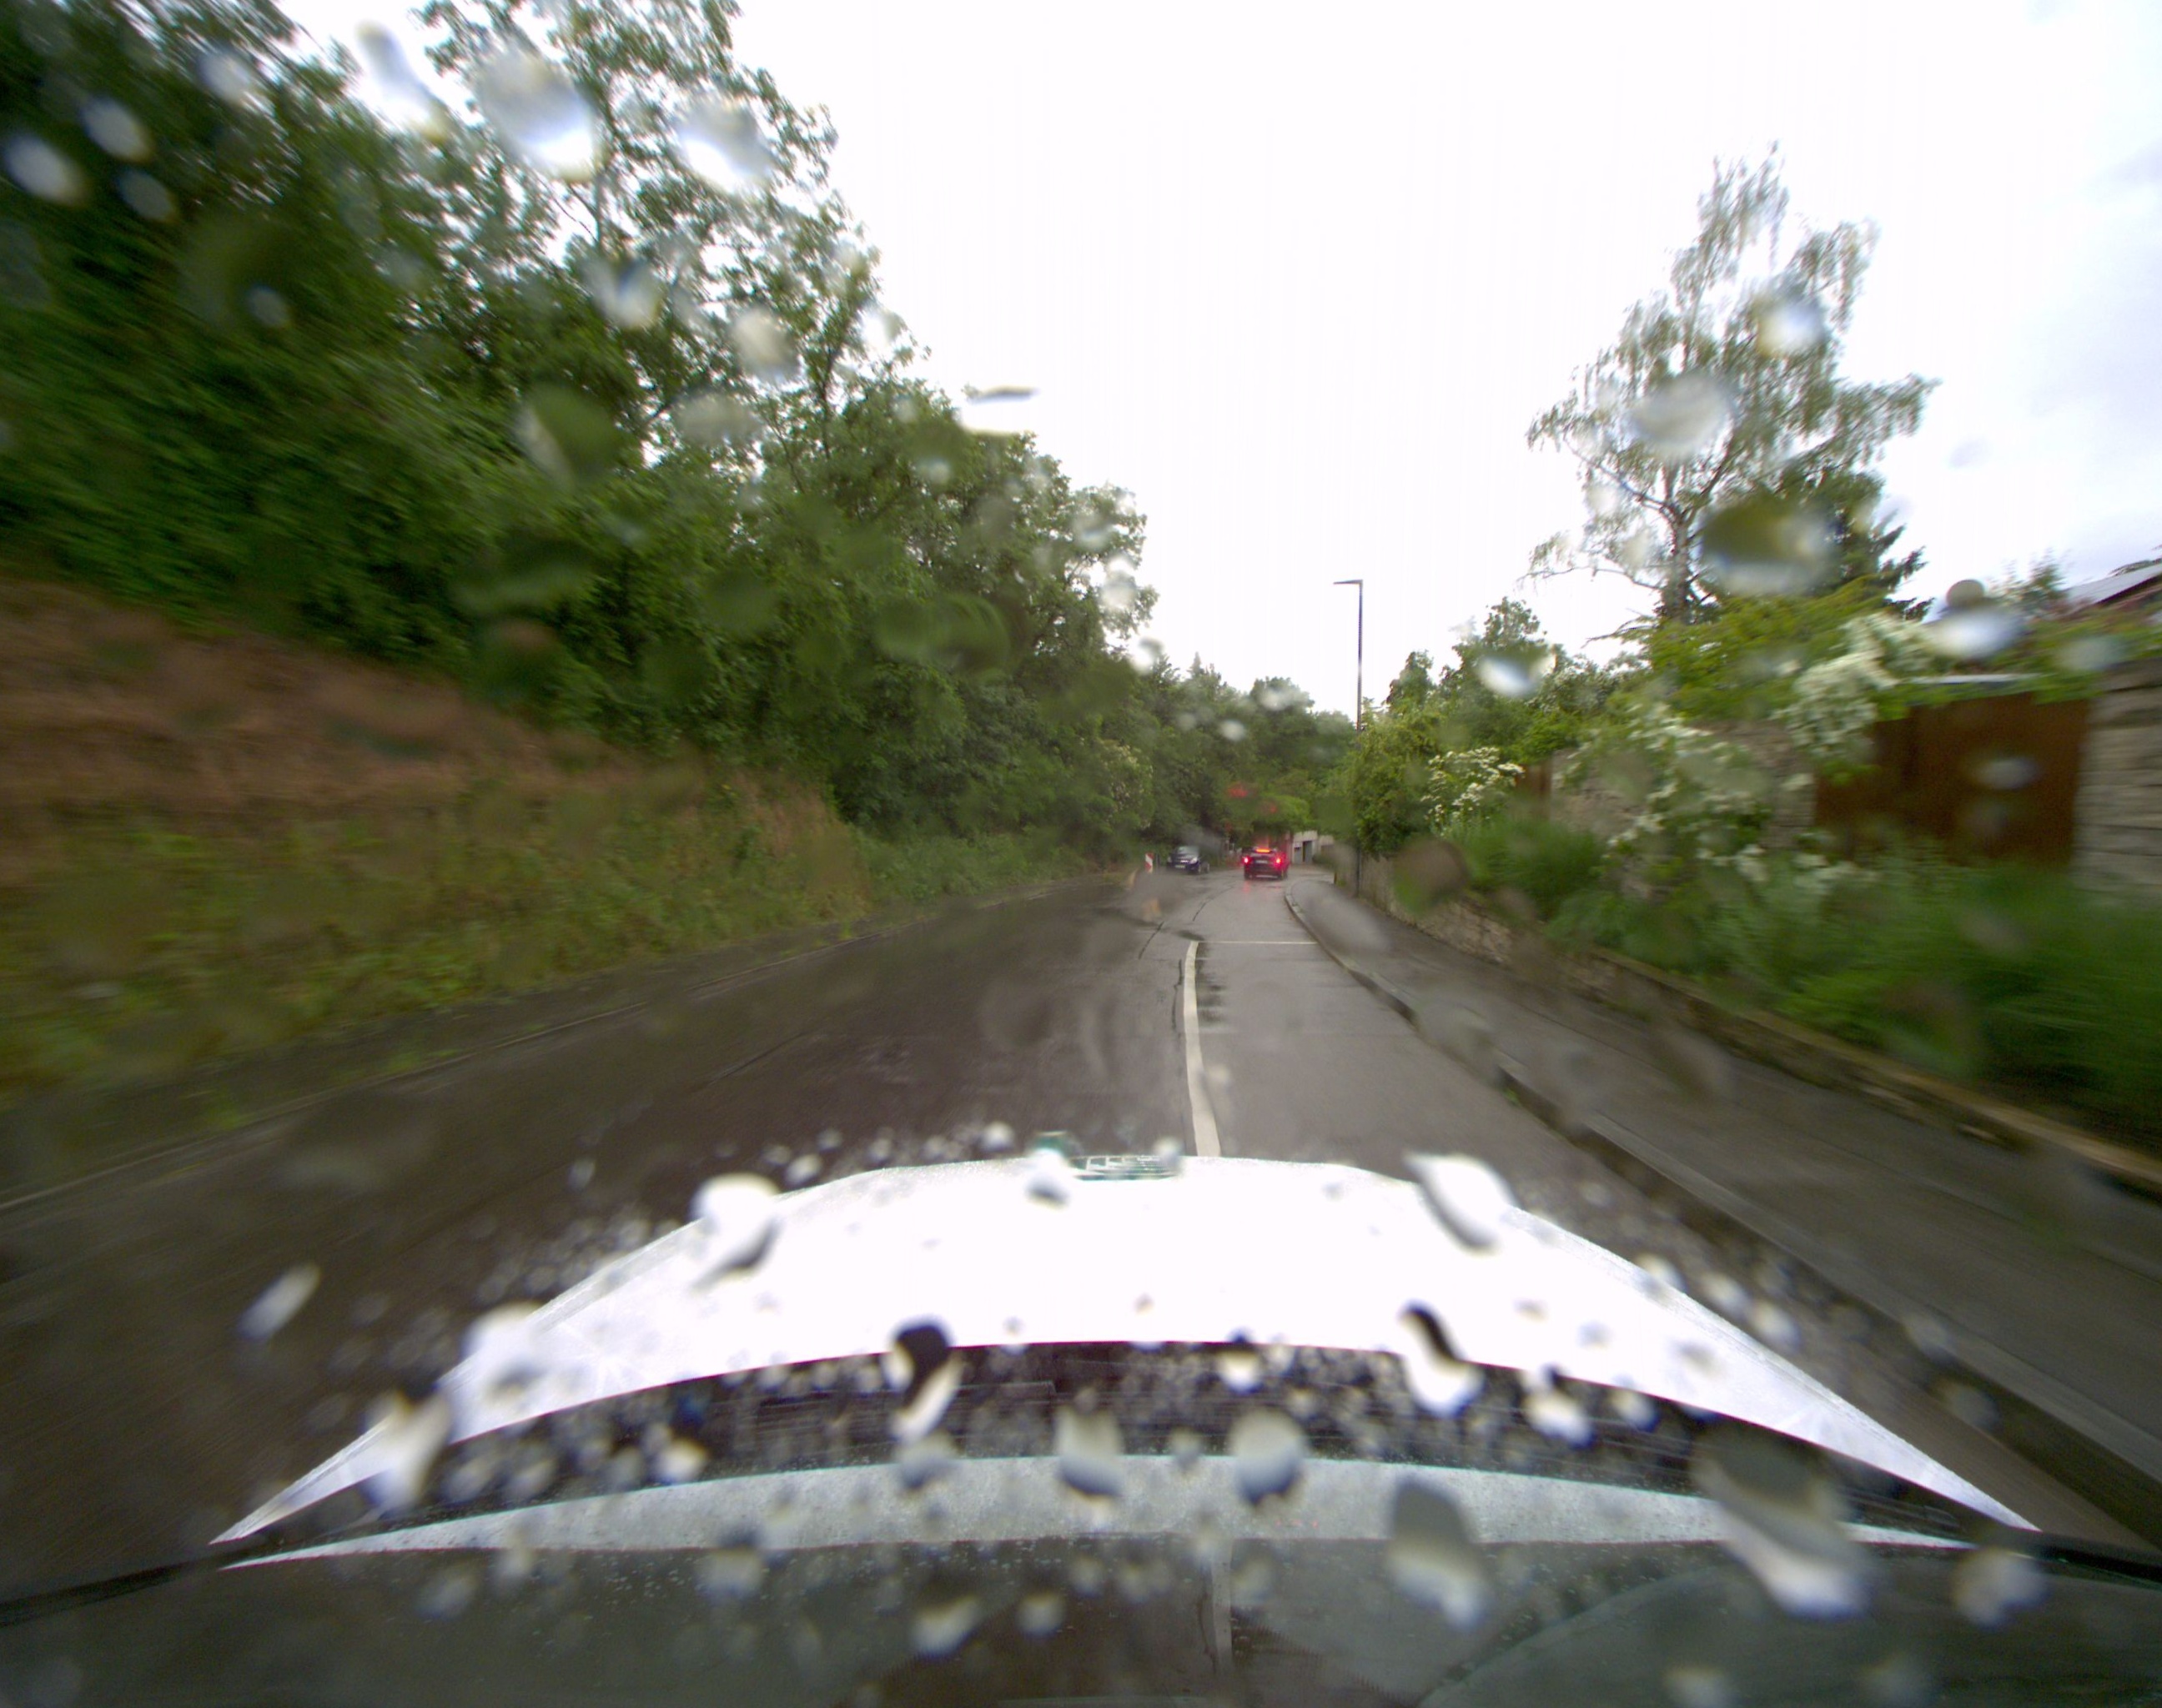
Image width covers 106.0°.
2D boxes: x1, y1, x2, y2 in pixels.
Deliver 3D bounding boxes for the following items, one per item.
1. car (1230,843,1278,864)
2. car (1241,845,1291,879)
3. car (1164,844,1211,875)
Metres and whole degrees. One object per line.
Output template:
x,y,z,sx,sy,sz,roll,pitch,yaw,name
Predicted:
13.739,-0.032,64.523,1.974,1.508,4.599,2,1,37,car
8.790,0.319,38.464,1.853,1.512,4.112,0,1,19,car
5.532,0.249,41.887,1.686,1.471,4.019,2,1,18,car
